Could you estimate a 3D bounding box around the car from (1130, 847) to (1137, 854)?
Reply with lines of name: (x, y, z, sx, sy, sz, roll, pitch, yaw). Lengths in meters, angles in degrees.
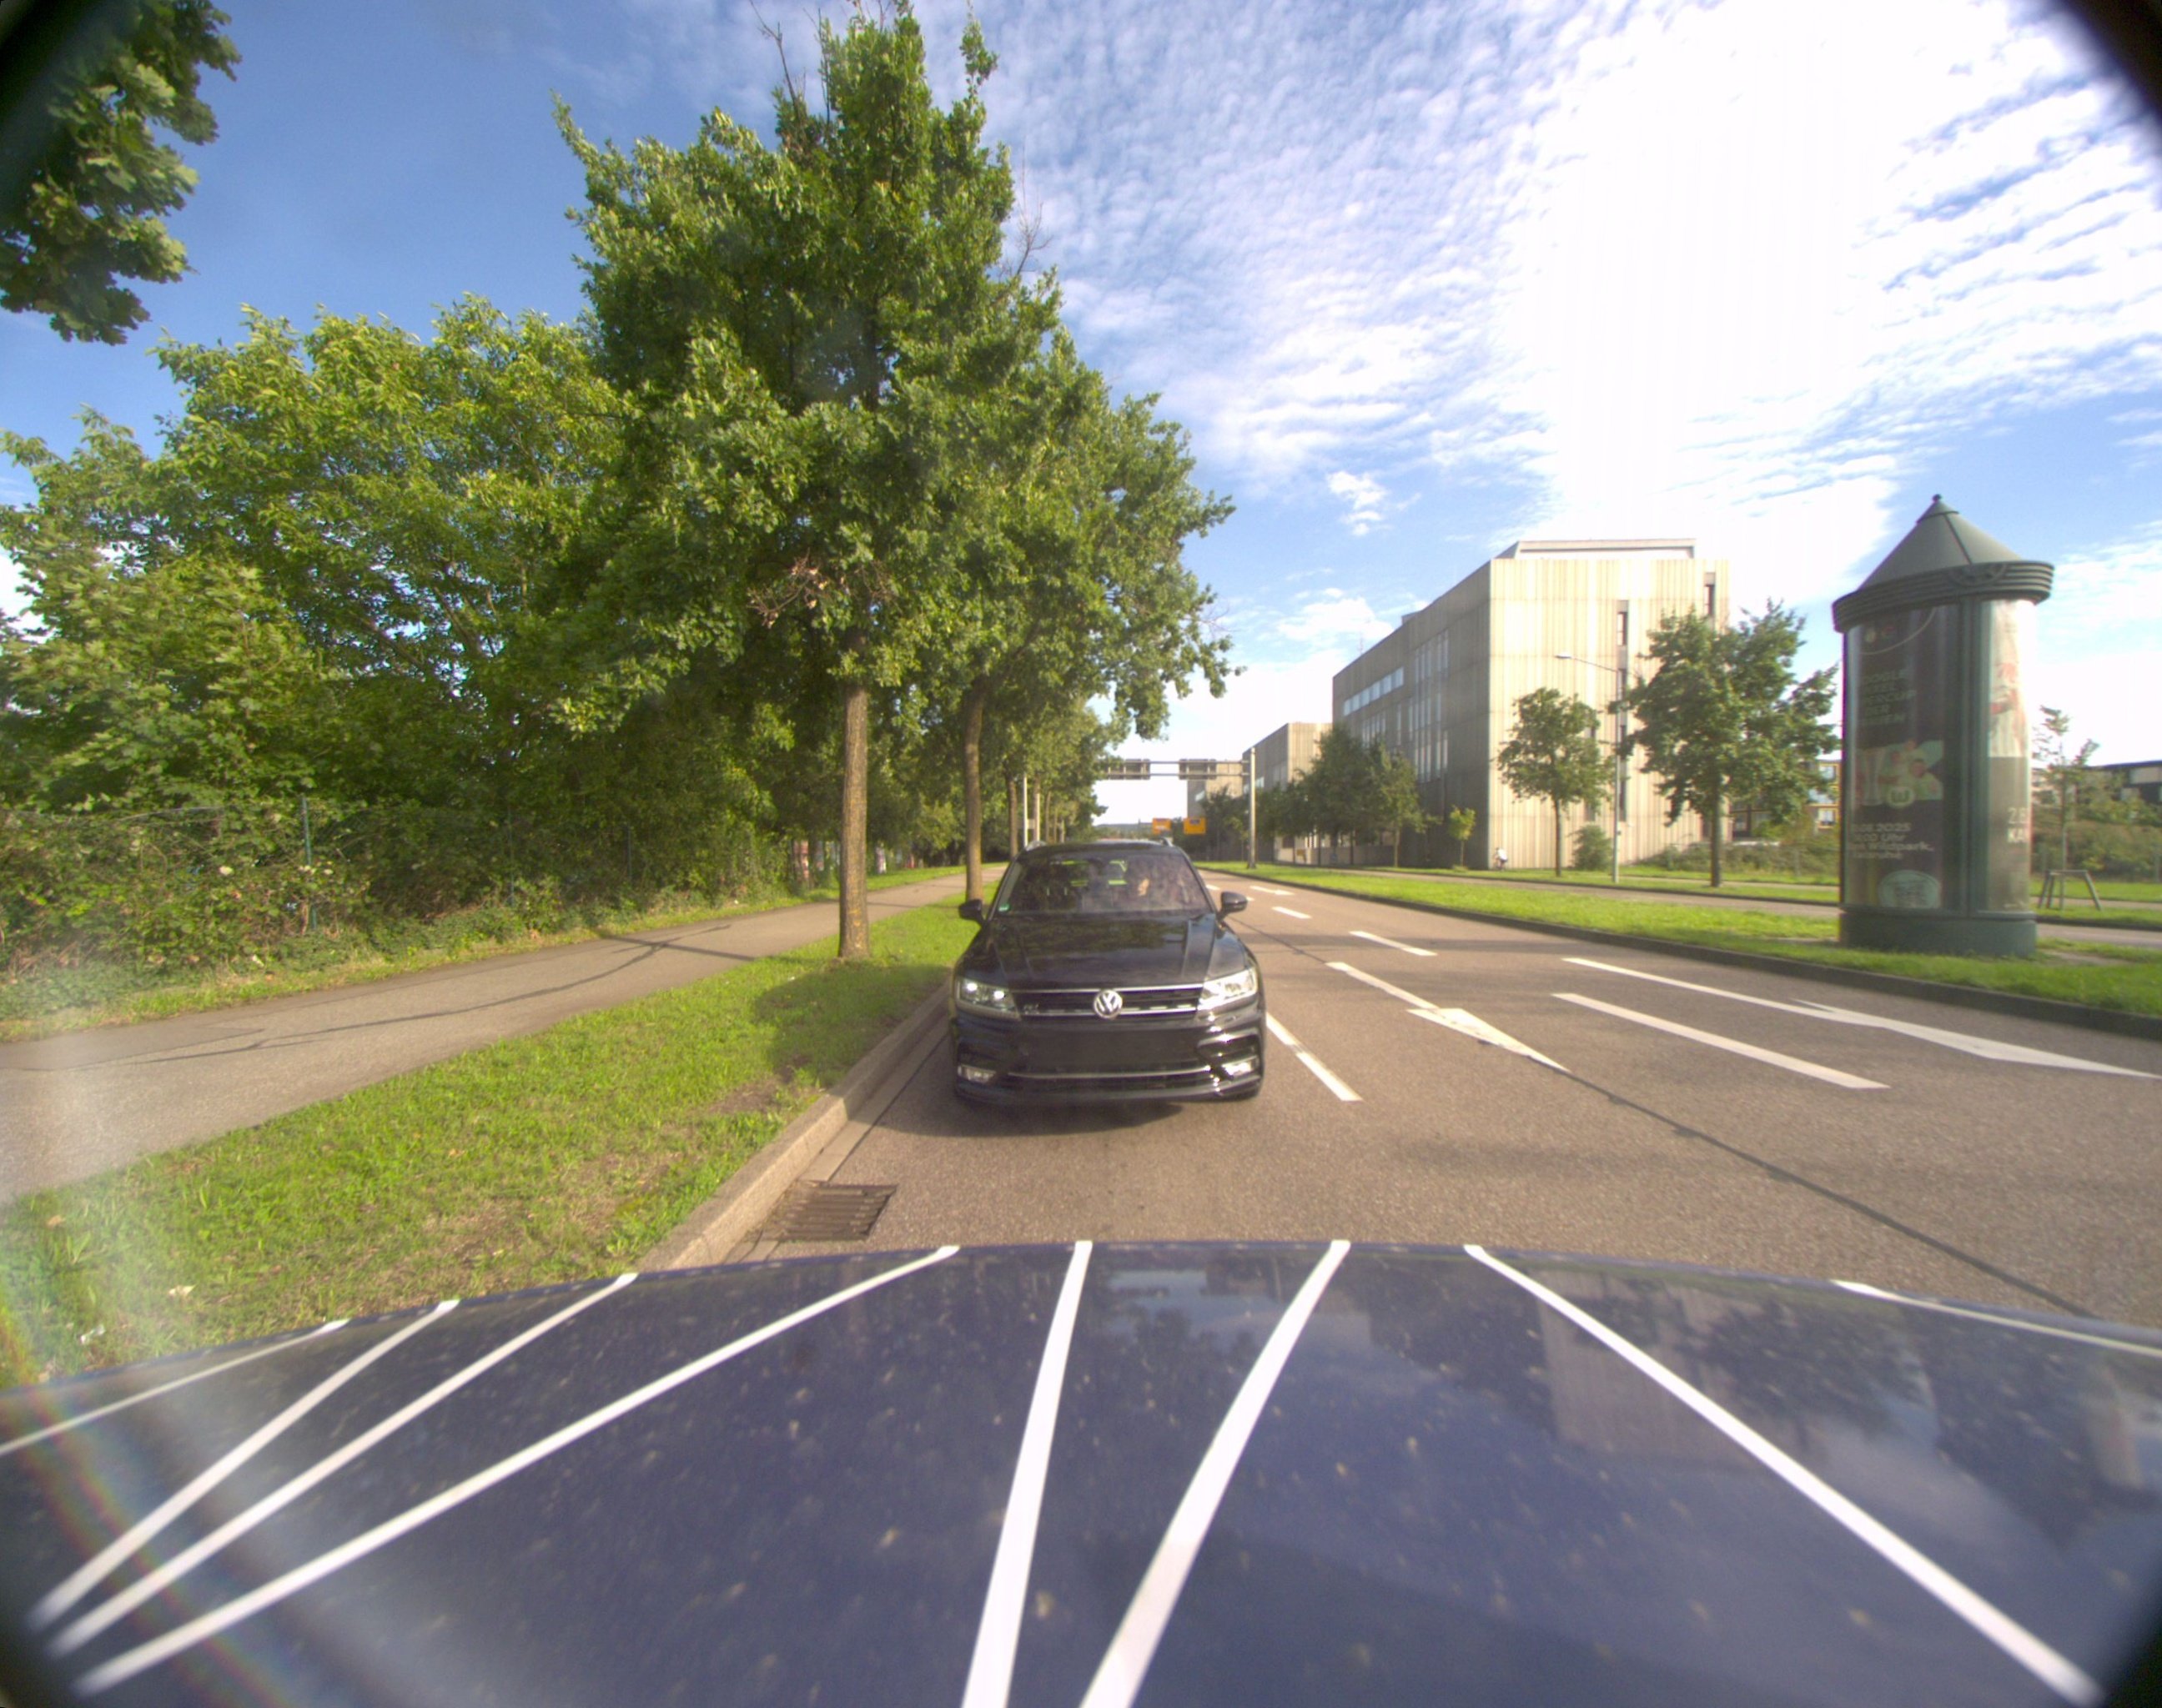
car: (15.678, -0.937, 226.565, 1.998, 2.002, 3.983, 0, 0, 0)

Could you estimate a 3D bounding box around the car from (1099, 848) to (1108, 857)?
car: (4.626, -0.357, 157.480, 1.758, 1.696, 4.000, -1, 0, 0)

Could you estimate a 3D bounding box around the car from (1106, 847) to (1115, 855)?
car: (7.563, -0.710, 194.251, 1.998, 2.002, 4.000, 0, 0, 0)

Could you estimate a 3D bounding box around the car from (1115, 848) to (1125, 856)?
car: (7.248, -0.314, 140.025, 1.745, 1.455, 4.000, -1, 1, 3)

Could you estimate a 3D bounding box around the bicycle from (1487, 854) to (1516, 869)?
bicycle: (28.158, 0.483, 50.945, 0.897, 0.975, 1.911, 0, 0, 1)

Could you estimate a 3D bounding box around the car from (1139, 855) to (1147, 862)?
car: (18.875, 1.379, 231.584, 1.998, 2.002, 4.000, 0, 0, 0)

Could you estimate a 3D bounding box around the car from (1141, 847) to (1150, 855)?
car: (17.481, -0.758, 206.089, 1.998, 2.002, 4.000, 0, 0, 0)

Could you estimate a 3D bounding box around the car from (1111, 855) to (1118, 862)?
car: (10.262, 1.409, 232.394, 1.998, 2.002, 4.000, 0, 0, 0)

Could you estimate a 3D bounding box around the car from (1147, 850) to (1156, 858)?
car: (18.004, -0.046, 194.332, 1.998, 2.002, 4.000, 0, 0, 0)

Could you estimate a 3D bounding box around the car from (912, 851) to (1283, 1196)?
car: (0.137, 0.834, 5.668, 1.775, 1.637, 3.868, -2, 1, 2)

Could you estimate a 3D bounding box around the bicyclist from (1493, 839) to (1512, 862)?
bicyclist: (28.154, -0.263, 50.773, 0.707, 1.517, 0.989, 0, 1, 1)
